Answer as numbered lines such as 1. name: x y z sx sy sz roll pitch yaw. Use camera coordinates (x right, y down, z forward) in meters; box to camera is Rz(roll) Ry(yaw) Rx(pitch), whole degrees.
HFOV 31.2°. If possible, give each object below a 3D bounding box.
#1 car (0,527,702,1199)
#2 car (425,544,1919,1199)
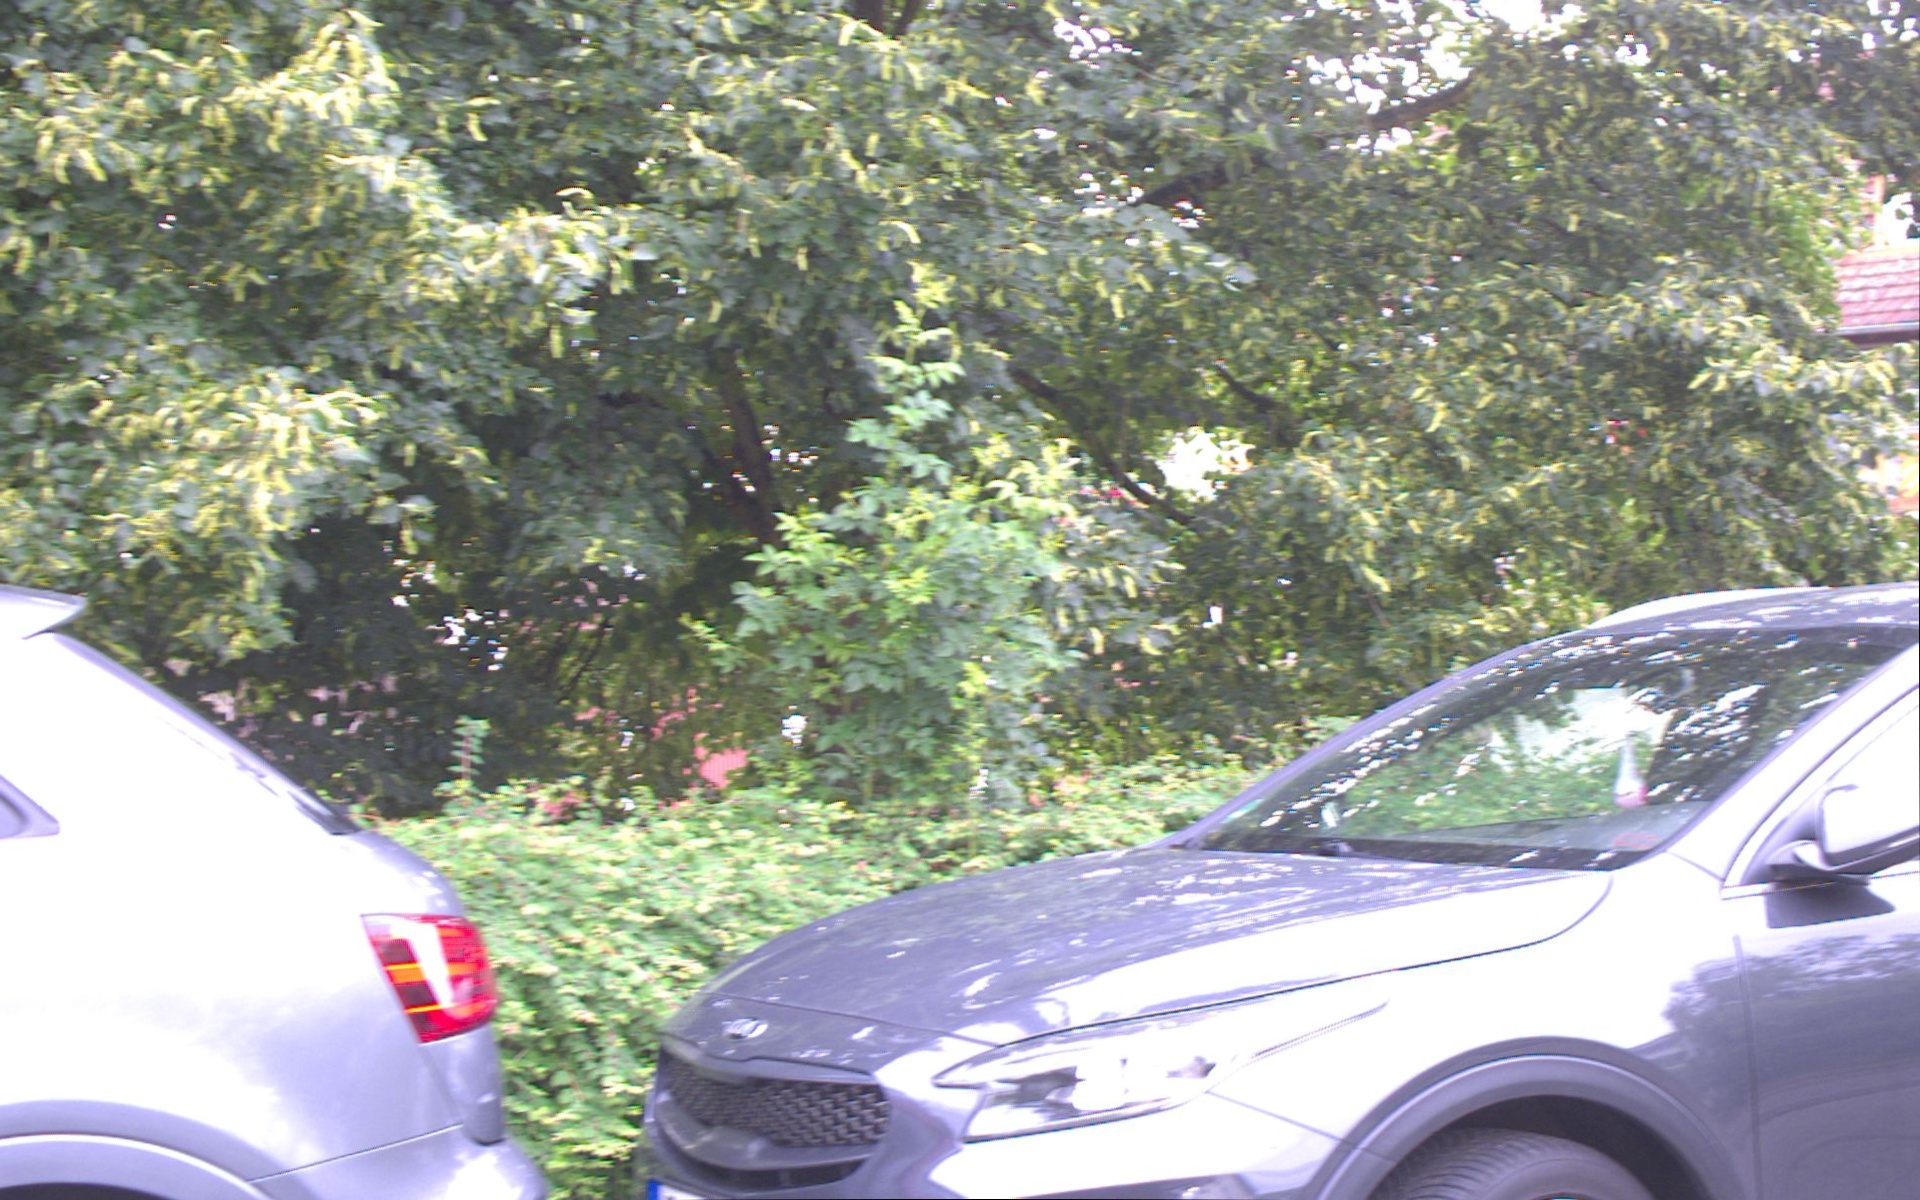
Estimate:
1. car: -2.585 0.704 3.959 4.237 1.526 1.747 0 -1 -32
2. car: 1.357 0.693 6.017 4.181 1.526 1.747 0 -1 -27
